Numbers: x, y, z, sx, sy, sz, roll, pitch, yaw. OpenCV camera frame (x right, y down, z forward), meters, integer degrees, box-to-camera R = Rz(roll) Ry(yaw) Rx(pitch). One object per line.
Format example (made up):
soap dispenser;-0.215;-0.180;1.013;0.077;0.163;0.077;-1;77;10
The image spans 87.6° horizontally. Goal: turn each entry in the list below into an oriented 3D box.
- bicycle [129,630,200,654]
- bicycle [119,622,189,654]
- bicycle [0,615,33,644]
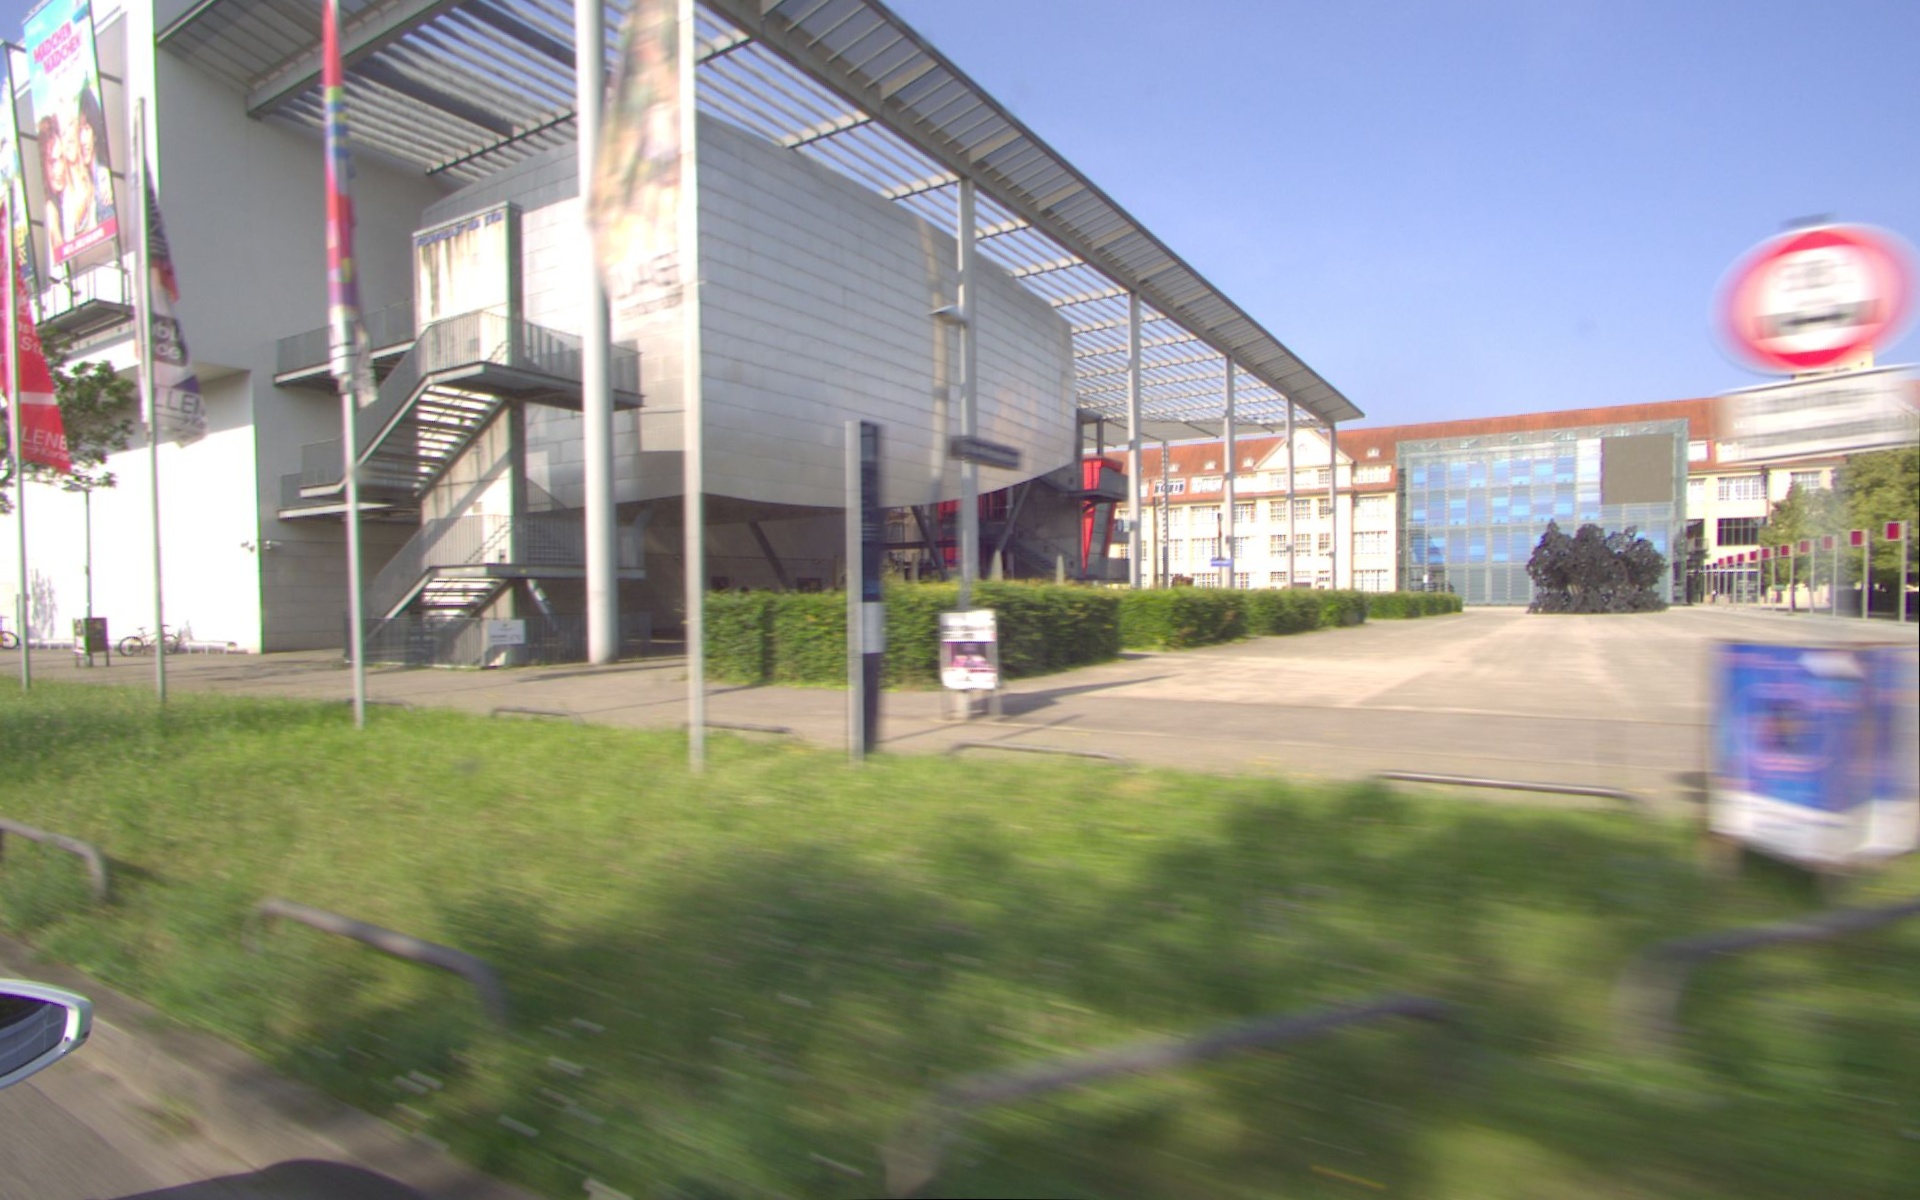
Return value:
bicycle;-24.719;1.305;31.137;0.530;0.653;1.653;0;1;32
bicycle;-25.339;1.175;31.502;0.475;0.927;1.653;0;1;32
bicycle;-37.545;1.159;39.002;0.667;1.117;2.001;0;1;36
